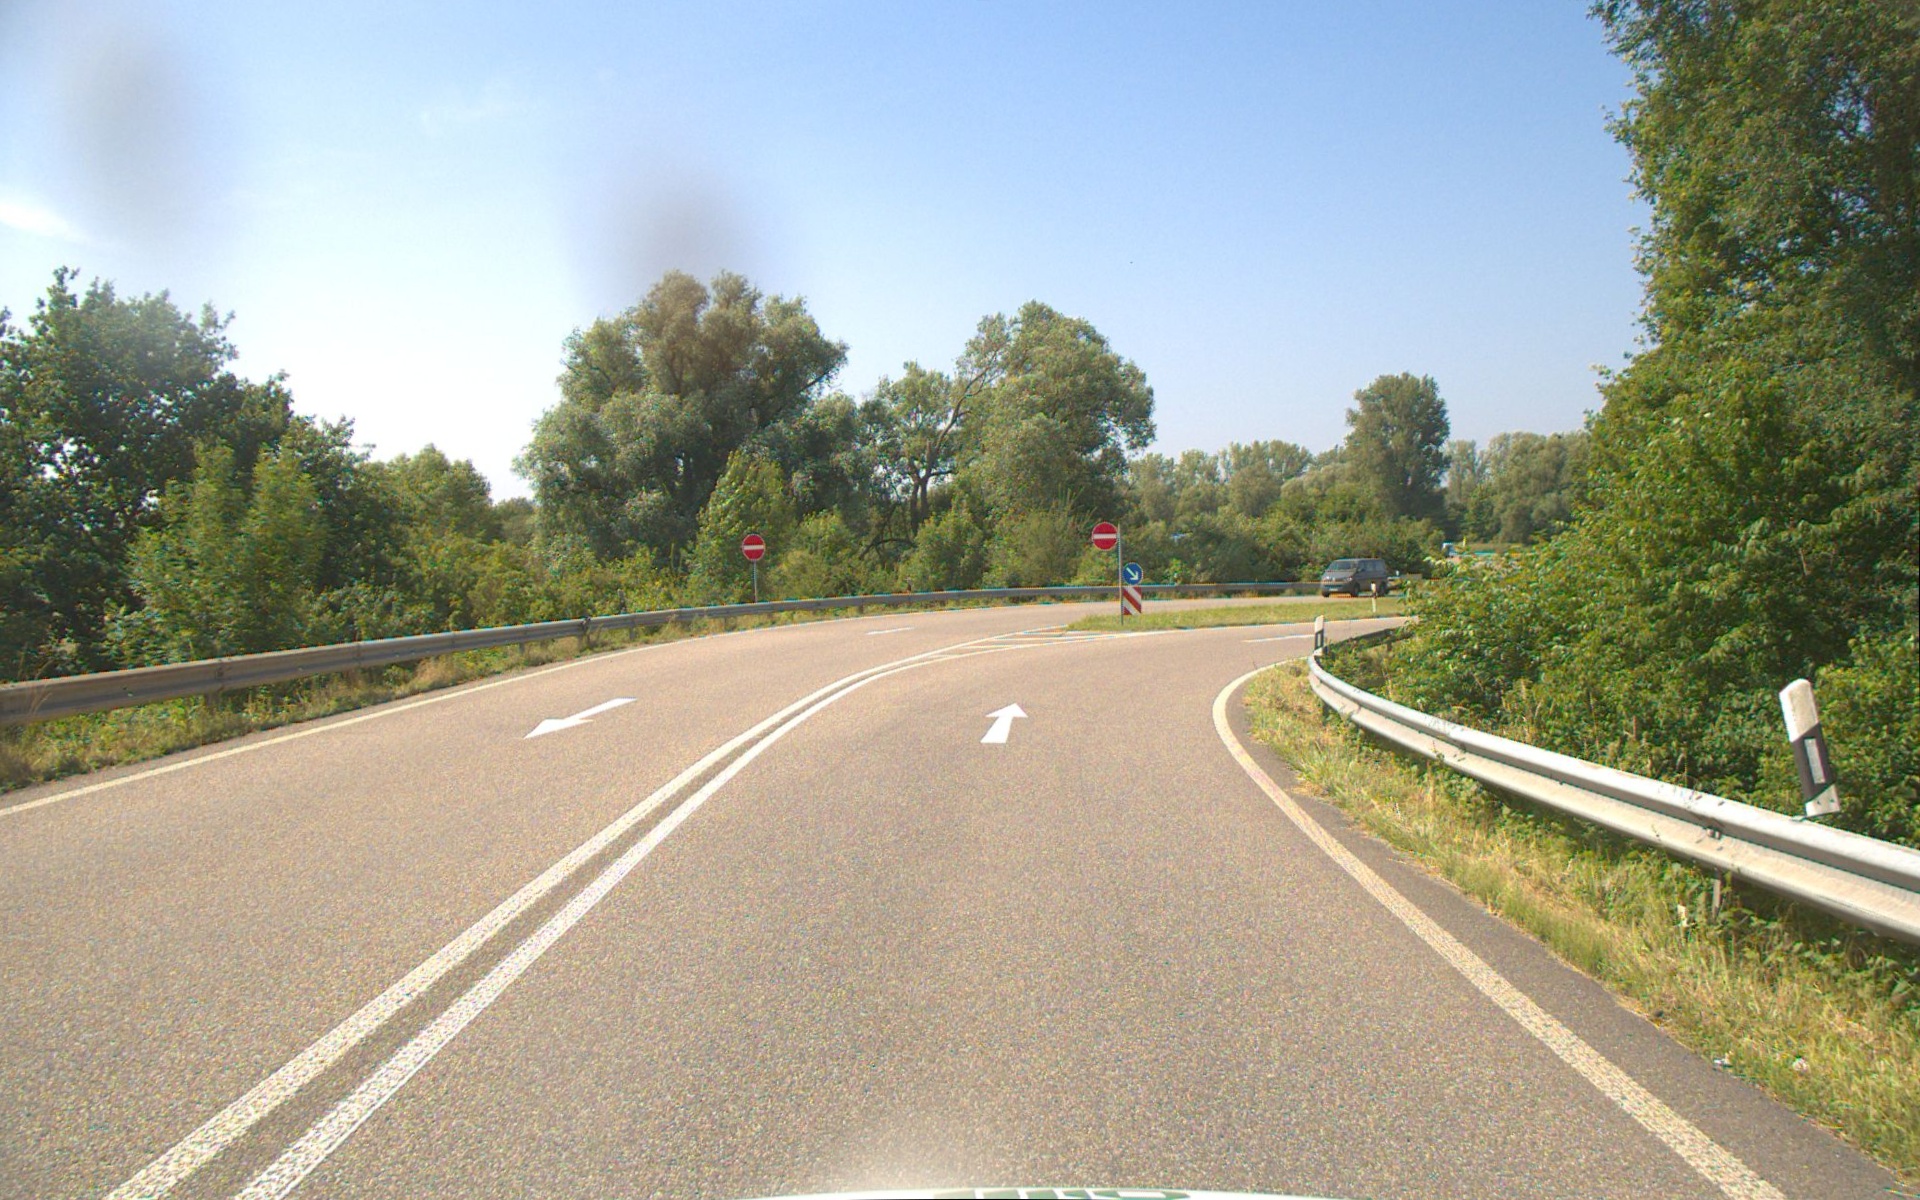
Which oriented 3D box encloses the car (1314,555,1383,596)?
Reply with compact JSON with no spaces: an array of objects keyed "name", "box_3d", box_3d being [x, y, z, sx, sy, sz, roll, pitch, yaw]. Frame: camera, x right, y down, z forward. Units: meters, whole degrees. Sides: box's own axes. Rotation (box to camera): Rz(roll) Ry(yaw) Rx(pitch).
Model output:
[{"name":"car","box_3d":[20.375,-1.305,86.746,1.870,1.913,3.978,3,5,41]}]
